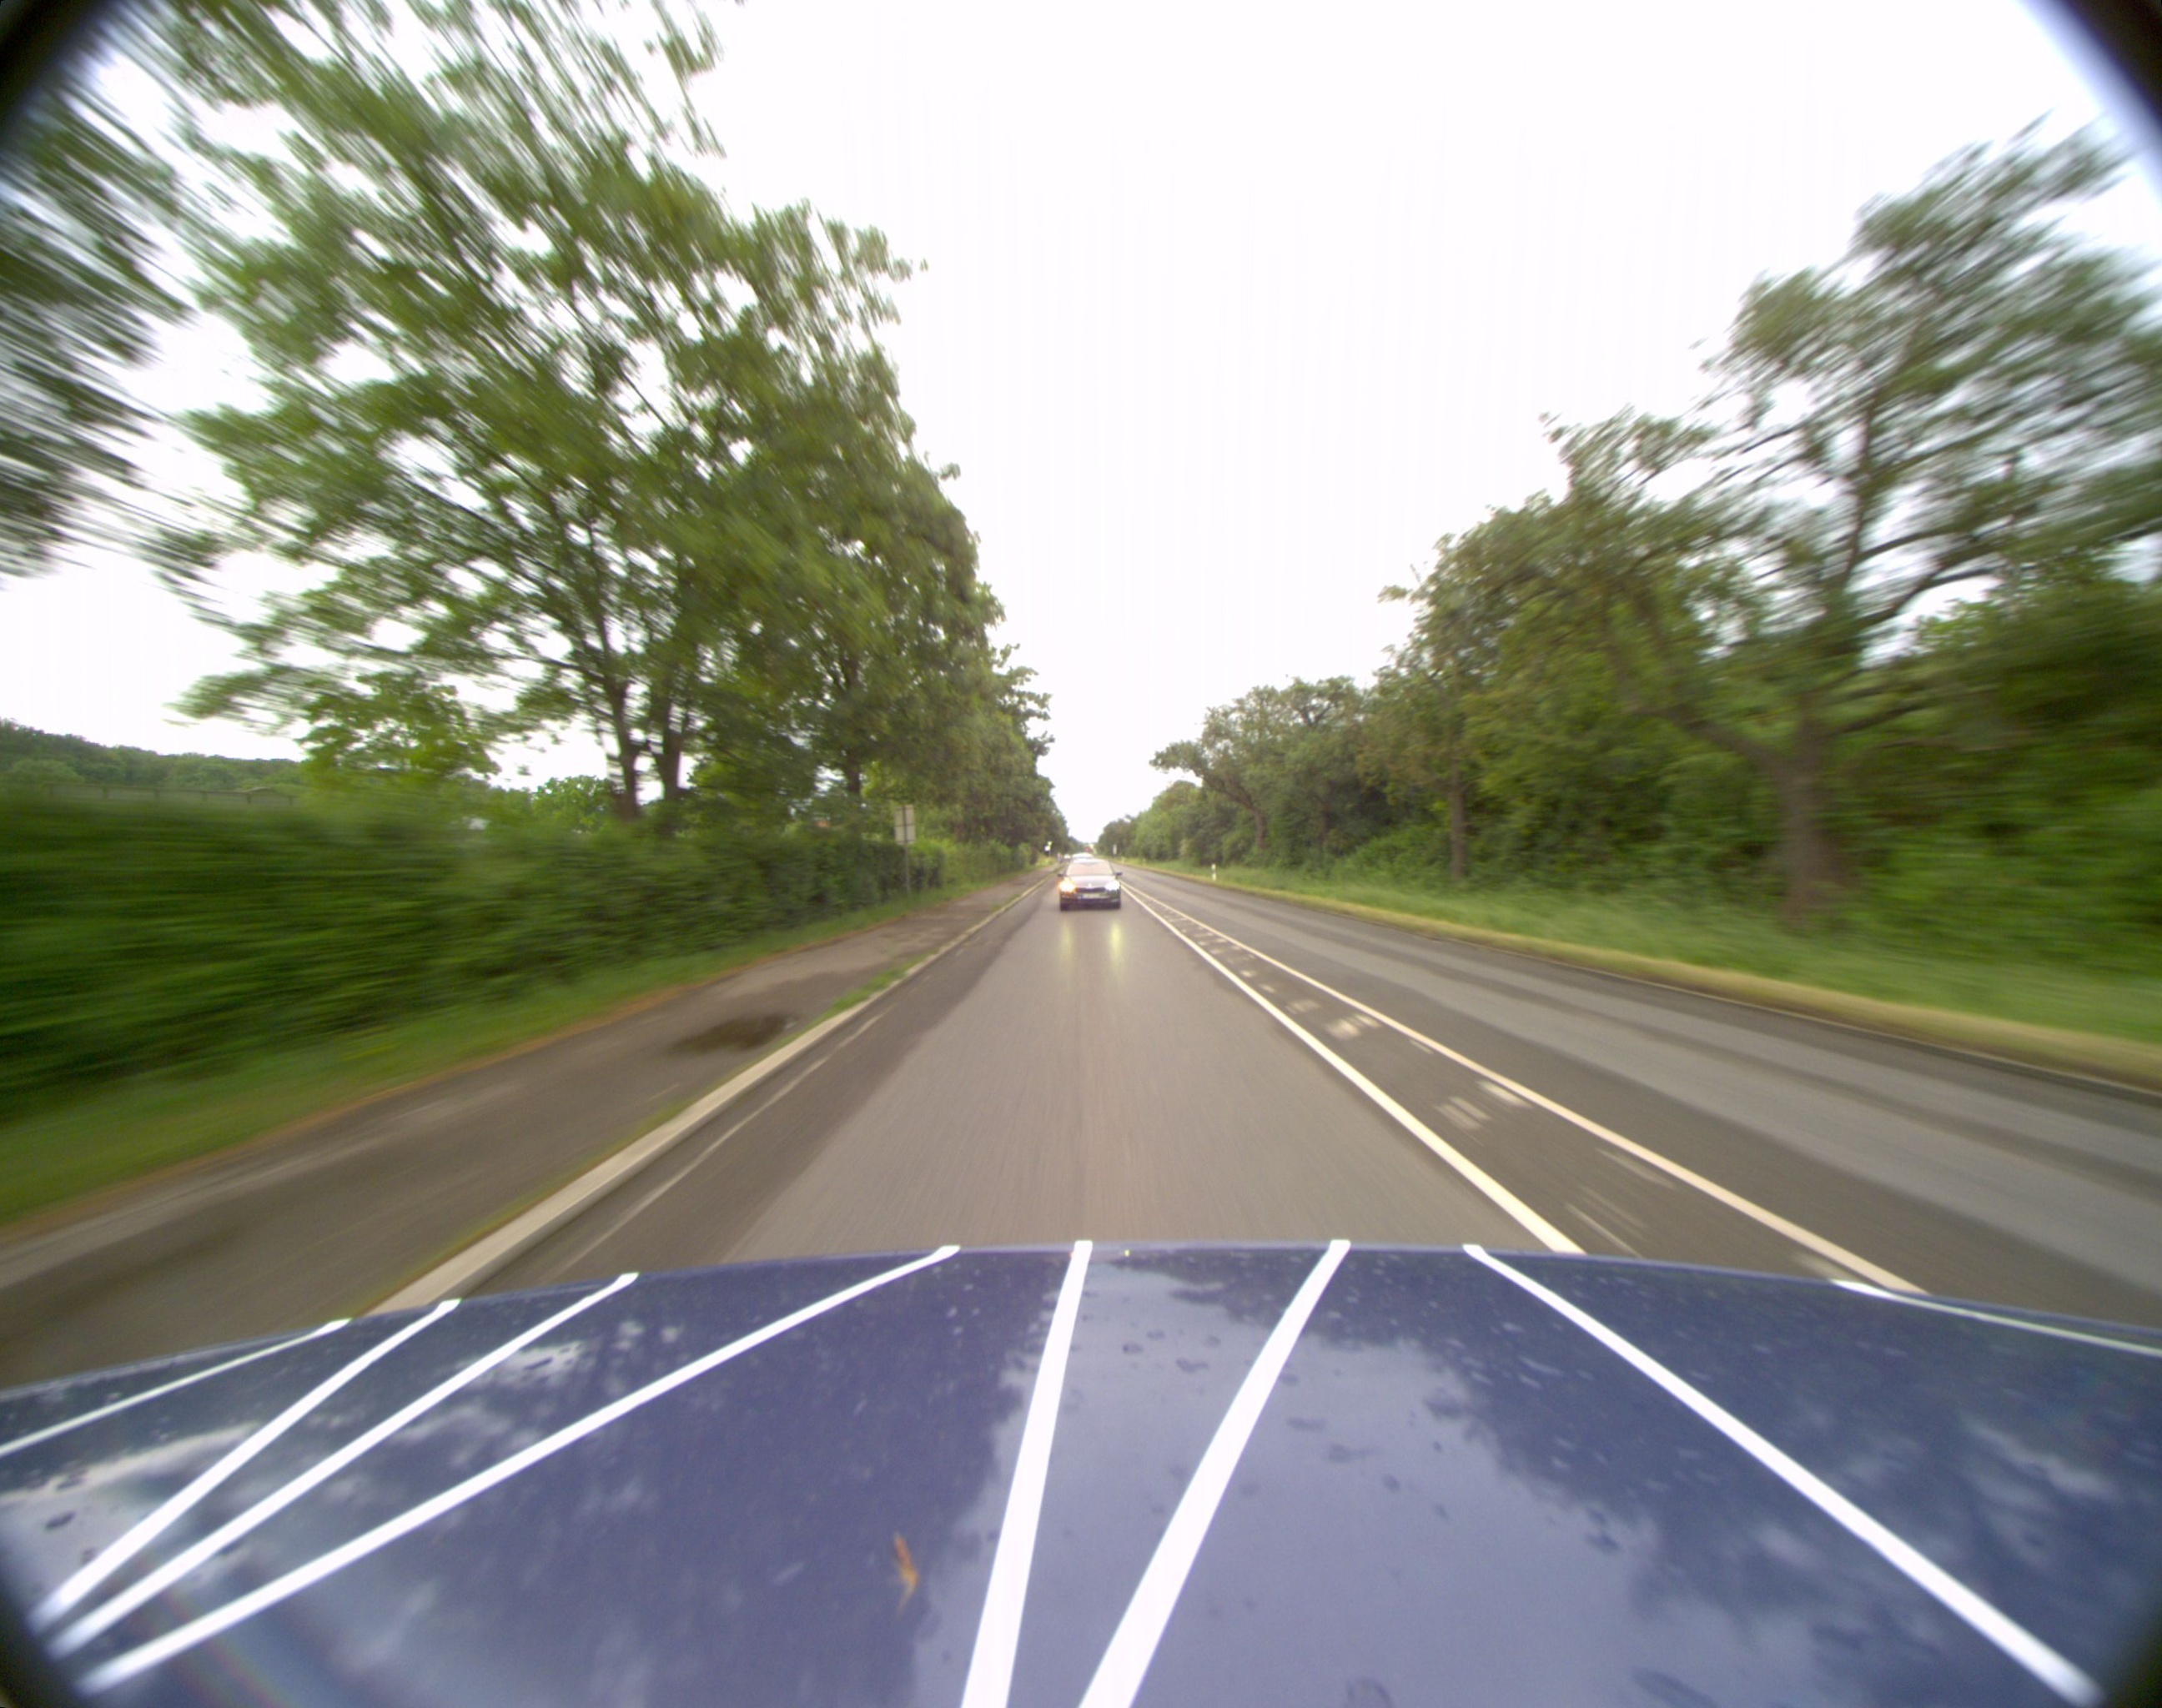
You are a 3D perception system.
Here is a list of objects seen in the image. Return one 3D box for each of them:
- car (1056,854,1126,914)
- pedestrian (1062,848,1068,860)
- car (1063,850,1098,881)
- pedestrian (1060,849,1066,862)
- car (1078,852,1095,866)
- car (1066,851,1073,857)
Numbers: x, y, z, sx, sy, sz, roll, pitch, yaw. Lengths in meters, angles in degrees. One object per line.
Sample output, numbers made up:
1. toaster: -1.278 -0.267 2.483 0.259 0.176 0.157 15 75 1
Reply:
1. car: 0.278 0.840 23.524 1.915 1.543 4.354 -2 1 0
2. pedestrian: -2.390 -0.028 111.122 0.663 1.768 0.759 0 1 -17
3. car: -0.034 0.646 45.871 1.915 1.691 3.913 -2 1 0
4. pedestrian: -2.644 0.171 110.155 0.696 1.817 0.800 0 1 -17
5. car: 0.647 0.548 90.907 1.887 1.543 3.475 -2 1 0
6. car: -3.156 0.005 211.756 1.749 1.460 4.219 1 1 -1
